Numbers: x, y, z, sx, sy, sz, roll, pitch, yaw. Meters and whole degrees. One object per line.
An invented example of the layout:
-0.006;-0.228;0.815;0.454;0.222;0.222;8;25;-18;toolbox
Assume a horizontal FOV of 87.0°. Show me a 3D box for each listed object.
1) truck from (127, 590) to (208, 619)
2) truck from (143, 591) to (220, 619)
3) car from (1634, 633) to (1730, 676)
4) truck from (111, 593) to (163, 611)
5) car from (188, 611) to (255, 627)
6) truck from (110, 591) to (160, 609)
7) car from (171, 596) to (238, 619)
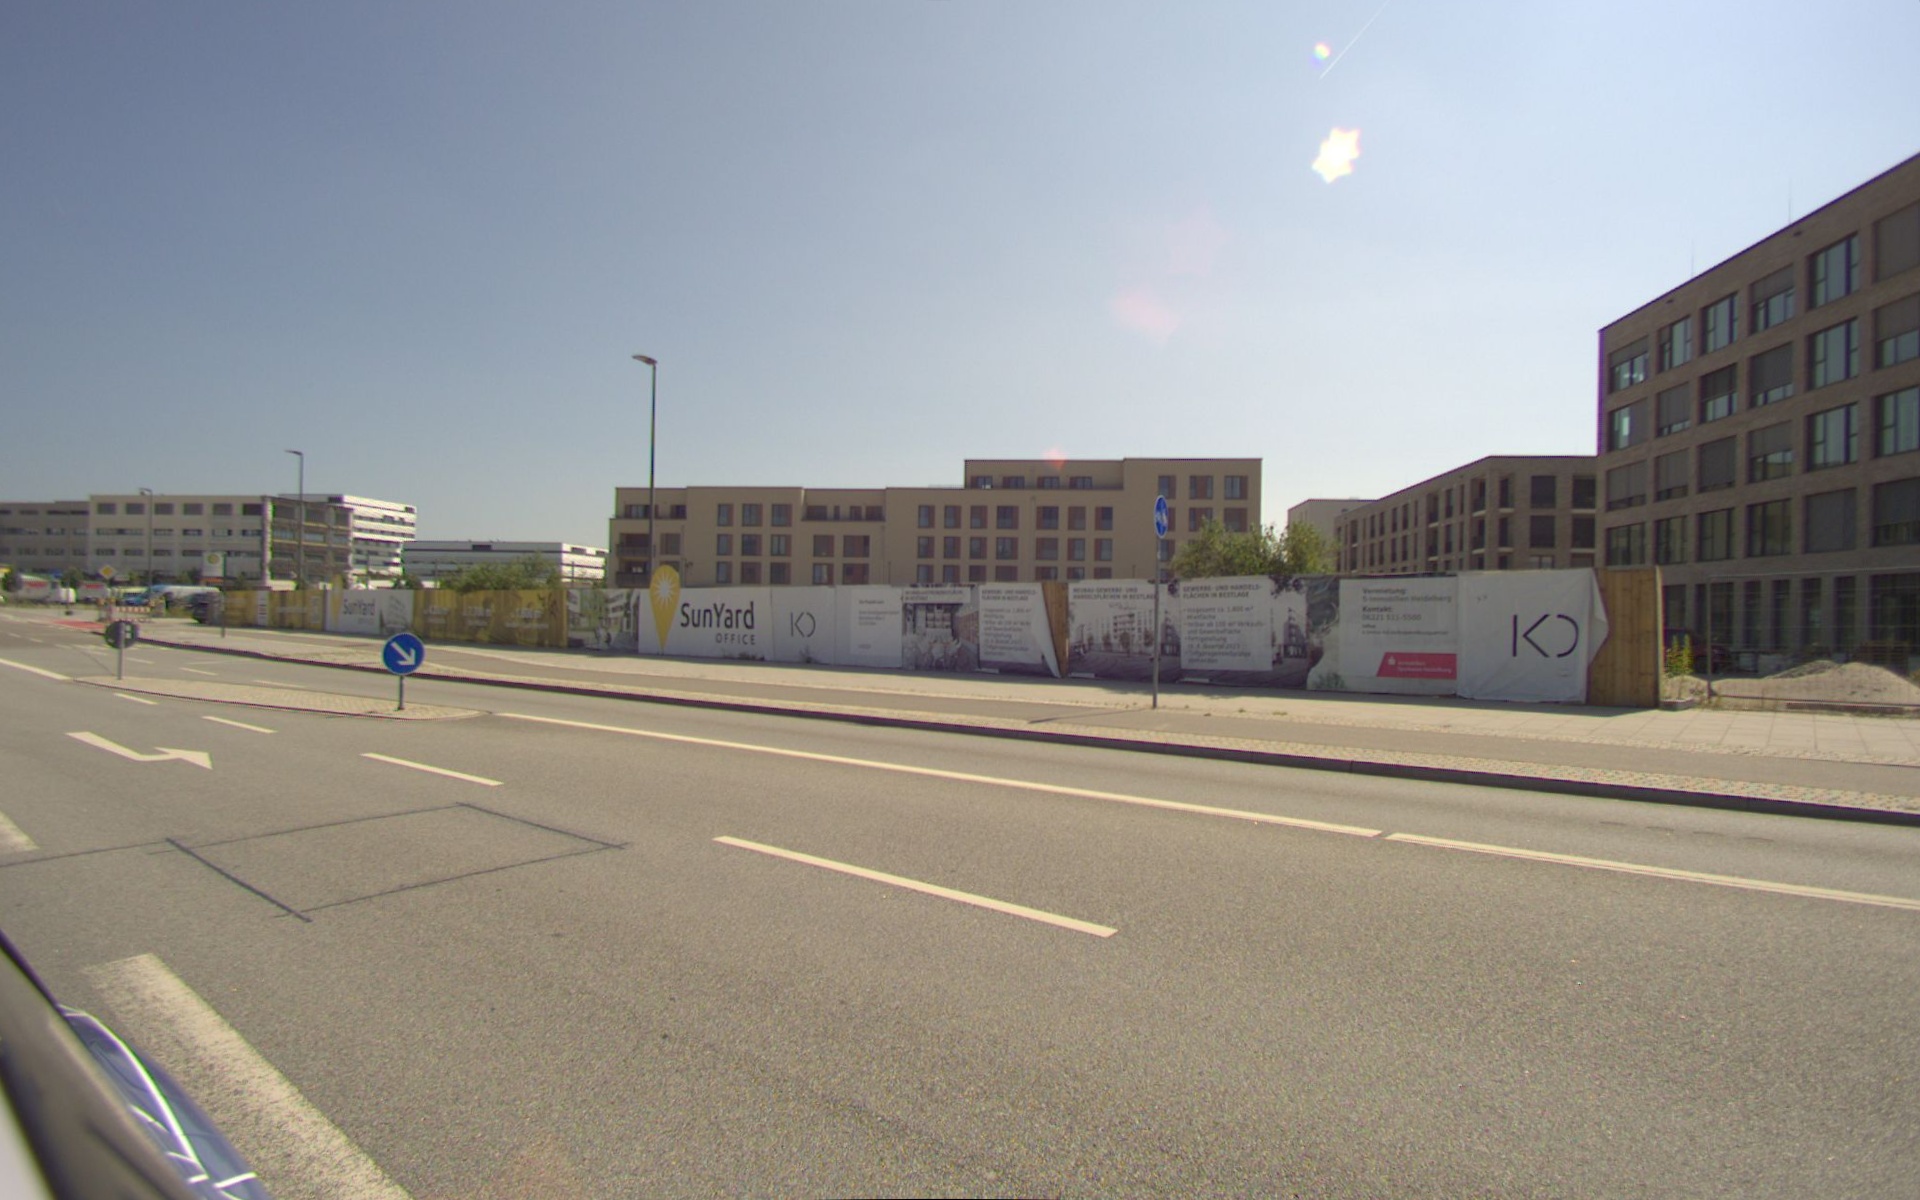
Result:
-72.438;0.363;92.590;1.996;2.494;5.567;0;1;36;truck
-67.000;0.405;87.113;1.998;2.245;4.942;0;1;39;truck
32.004;2.386;44.990;1.814;1.666;3.772;0;0;7;car
-114.931;0.269;141.377;1.996;2.494;5.270;0;1;36;truck
-48.240;1.232;66.139;1.293;0.960;3.315;0;1;43;car
-120.261;-0.021;147.545;1.998;2.494;5.346;0;1;38;truck
-60.330;0.585;80.853;1.888;1.731;3.885;0;1;35;car
